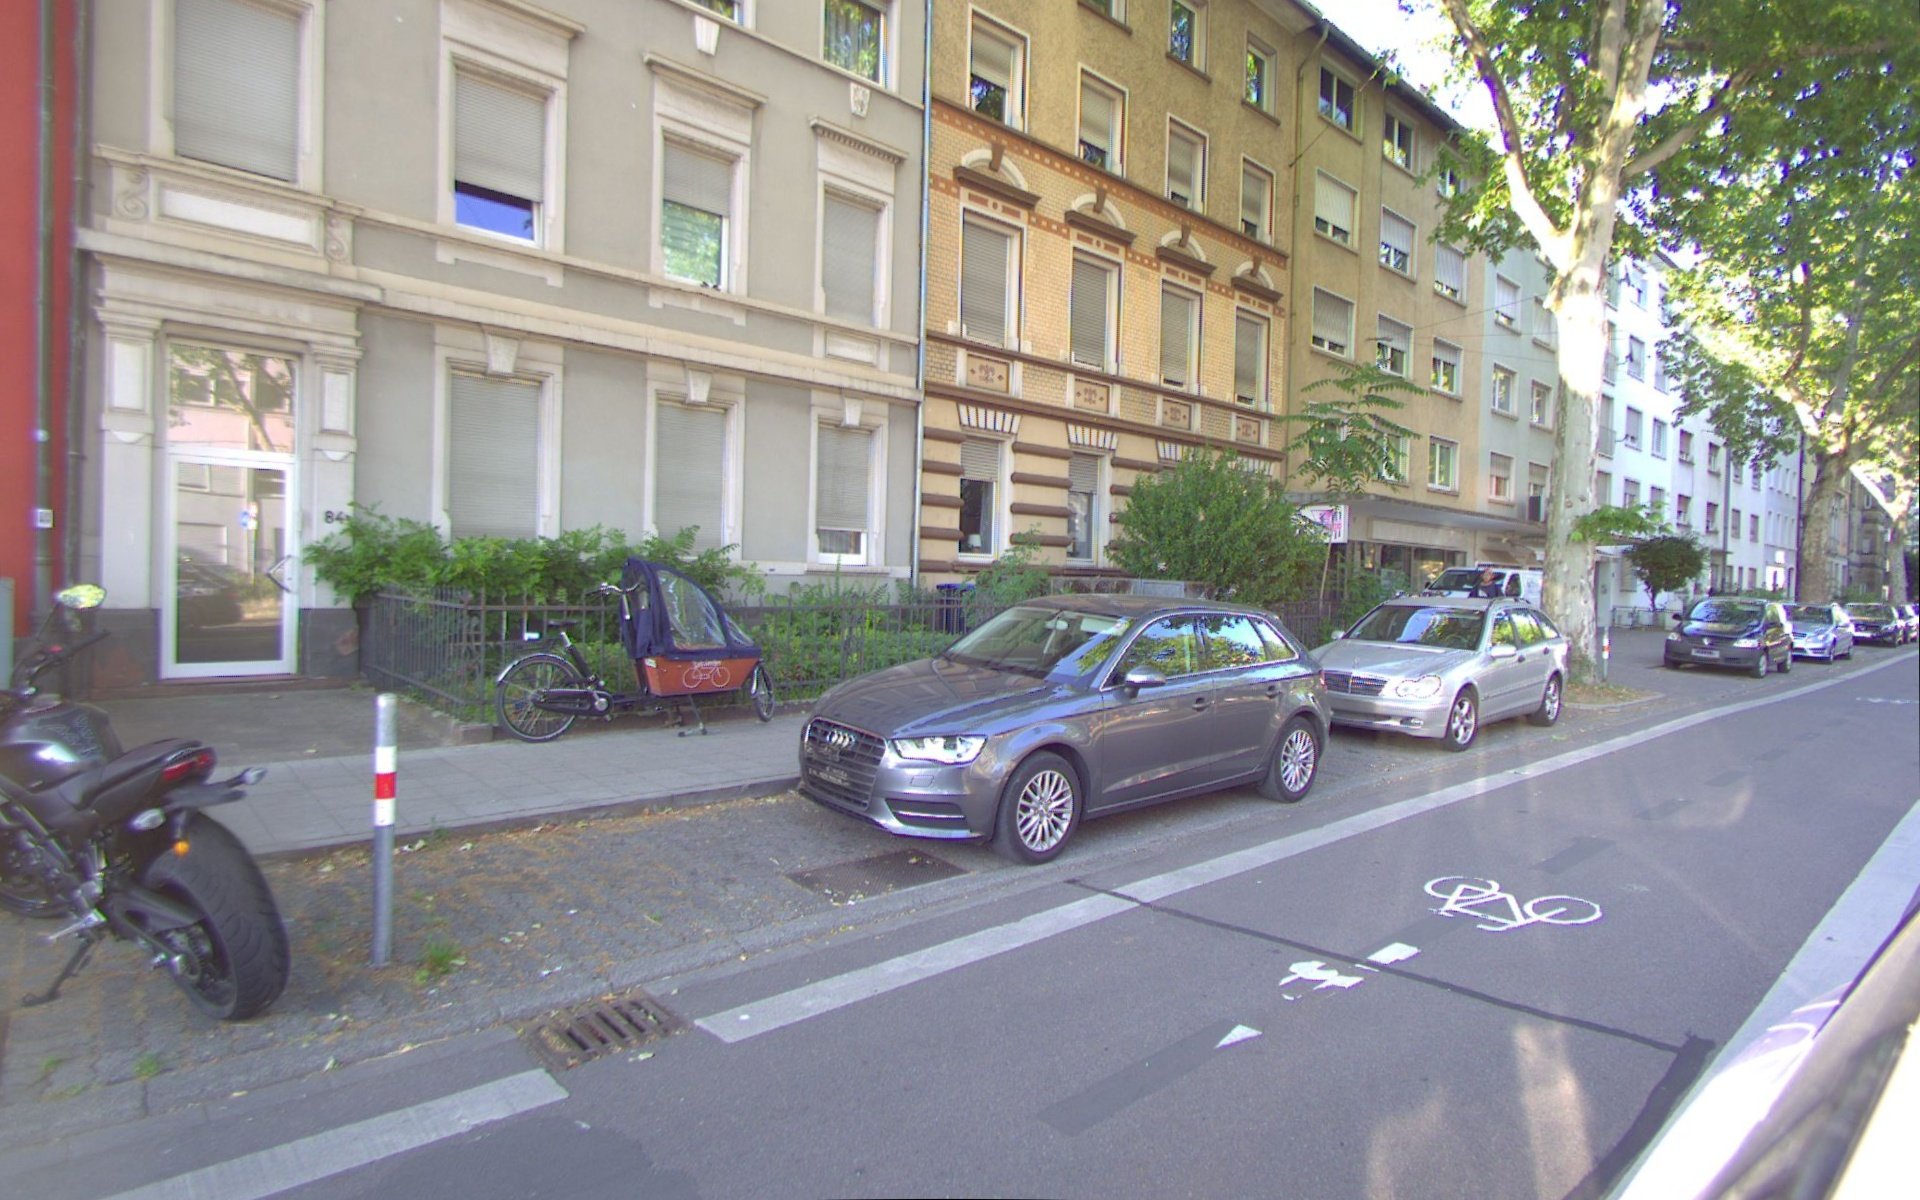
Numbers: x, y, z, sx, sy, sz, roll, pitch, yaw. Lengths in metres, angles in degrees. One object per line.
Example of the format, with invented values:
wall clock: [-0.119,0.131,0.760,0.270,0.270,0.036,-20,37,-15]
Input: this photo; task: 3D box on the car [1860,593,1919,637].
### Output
car: [35.190,0.520,37.885,4.289,1.432,1.712,0,4,-42]

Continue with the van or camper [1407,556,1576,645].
van or camper: [13.176,-0.024,24.921,5.299,1.946,1.945,0,2,-42]

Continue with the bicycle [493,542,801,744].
bicycle: [-2.463,0.297,8.238,2.354,1.445,0.608,0,0,-41]

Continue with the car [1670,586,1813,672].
car: [16.242,0.527,20.969,3.932,1.564,1.656,0,2,-42]

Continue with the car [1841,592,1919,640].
car: [31.663,0.509,34.615,4.289,1.432,1.712,0,4,-42]

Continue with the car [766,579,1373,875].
car: [0.972,0.608,6.985,4.245,1.414,1.714,0,2,-41]

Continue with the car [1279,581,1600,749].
car: [5.459,0.565,11.212,4.494,1.469,1.676,0,2,-43]

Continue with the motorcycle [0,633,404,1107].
motorcycle: [-3.025,0.760,3.577,2.193,1.076,0.760,4,2,28]

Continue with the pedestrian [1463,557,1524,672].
pedestrian: [9.748,0.247,18.486,0.995,2.038,0.683,0,1,-44]

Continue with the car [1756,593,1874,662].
car: [21.995,0.629,25.964,4.695,1.561,1.697,0,2,-42]
